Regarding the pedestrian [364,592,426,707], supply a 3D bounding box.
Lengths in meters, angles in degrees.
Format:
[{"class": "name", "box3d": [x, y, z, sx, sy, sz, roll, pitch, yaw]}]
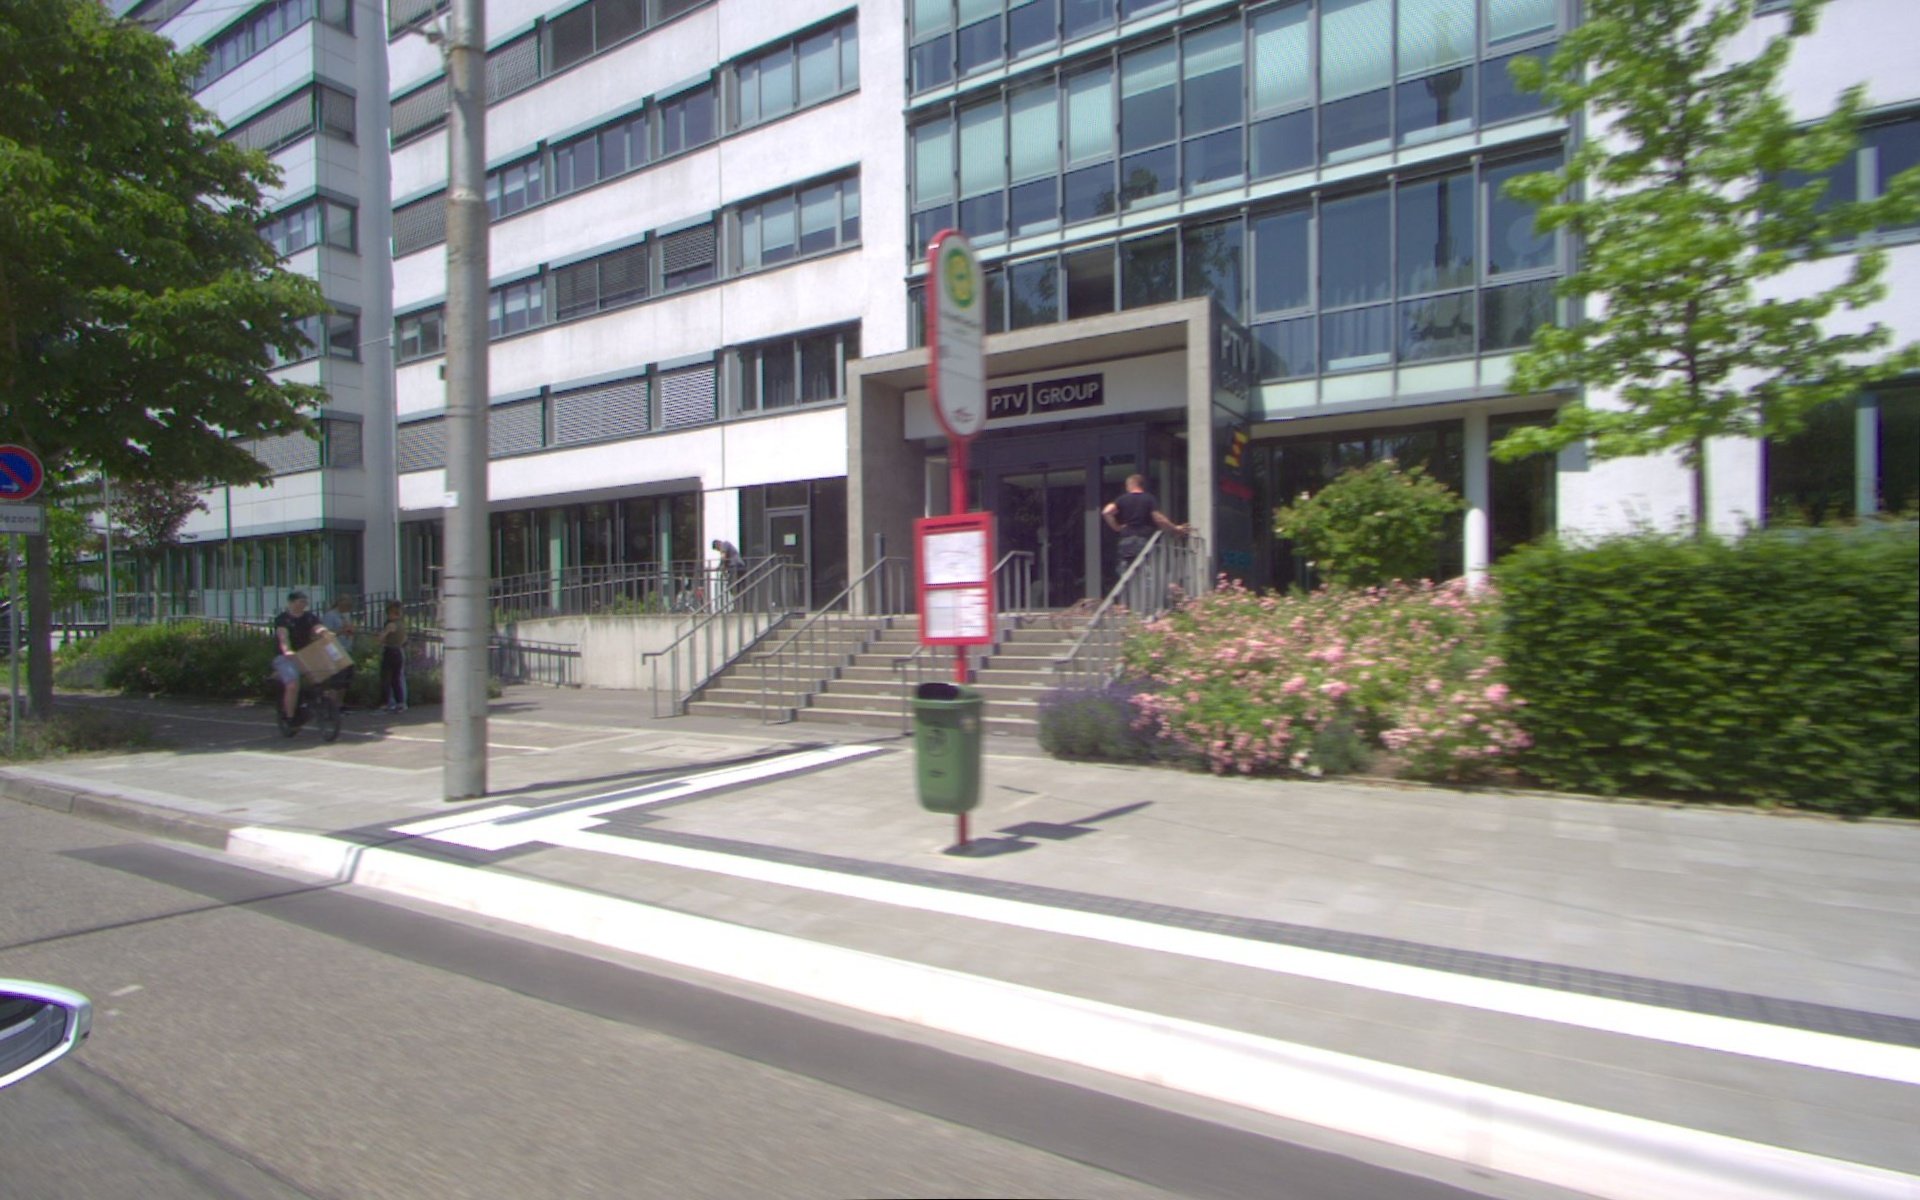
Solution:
[{"class": "pedestrian", "box3d": [-8.700, 0.752, 15.434, 0.554, 1.738, 0.538, -2, 1, 3]}]

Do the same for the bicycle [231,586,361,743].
[{"class": "bicycle", "box3d": [-8.211, 0.763, 12.367, 1.787, 1.809, 0.687, -1, 1, 35]}]

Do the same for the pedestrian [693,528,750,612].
[{"class": "pedestrian", "box3d": [-5.100, -0.621, 21.413, 0.796, 1.738, 0.876, 0, -1, 31]}]

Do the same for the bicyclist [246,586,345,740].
[{"class": "bicyclist", "box3d": [-8.213, 0.755, 12.378, 0.876, 1.823, 0.694, -1, 1, 35]}]

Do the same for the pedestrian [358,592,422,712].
[{"class": "pedestrian", "box3d": [-8.435, 0.753, 14.834, 0.554, 1.738, 0.538, -2, 1, 3]}]

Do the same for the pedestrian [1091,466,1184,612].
[{"class": "pedestrian", "box3d": [2.225, -0.737, 12.655, 1.069, 1.738, 0.876, -2, 1, 8]}]

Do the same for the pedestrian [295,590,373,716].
[{"class": "pedestrian", "box3d": [-9.302, 0.773, 14.910, 0.661, 1.821, 0.679, -1, 2, 1]}]
